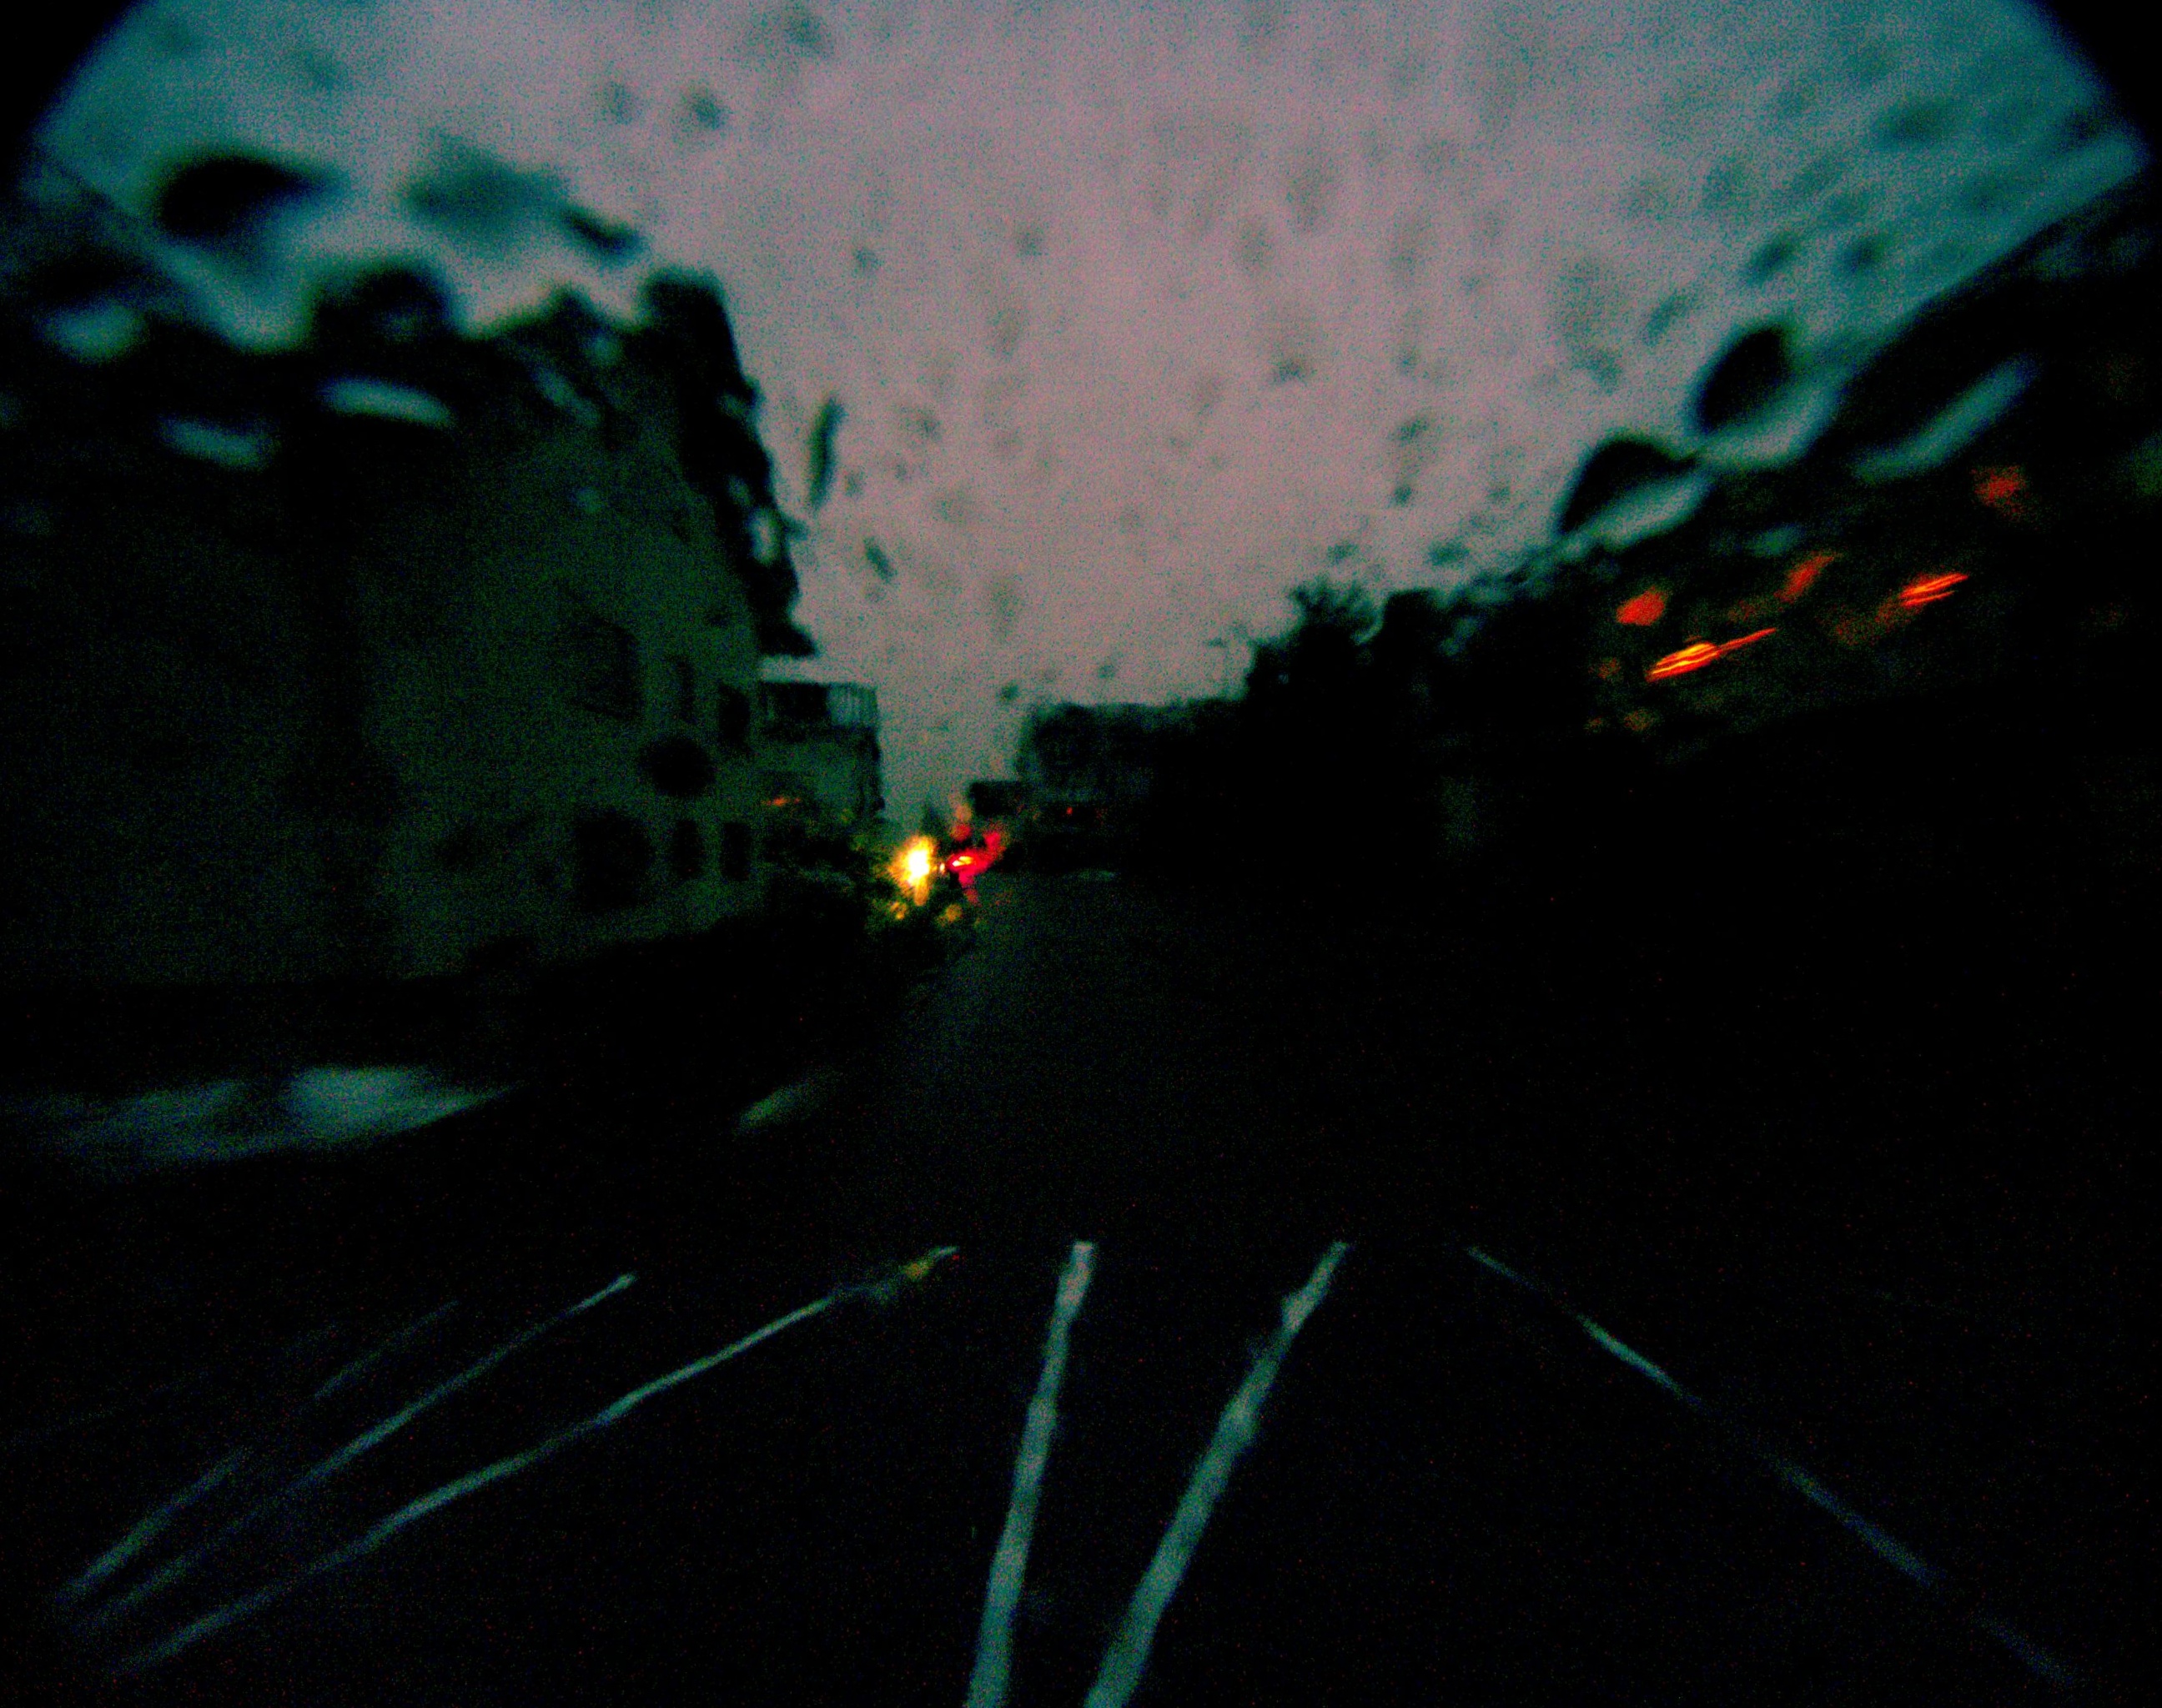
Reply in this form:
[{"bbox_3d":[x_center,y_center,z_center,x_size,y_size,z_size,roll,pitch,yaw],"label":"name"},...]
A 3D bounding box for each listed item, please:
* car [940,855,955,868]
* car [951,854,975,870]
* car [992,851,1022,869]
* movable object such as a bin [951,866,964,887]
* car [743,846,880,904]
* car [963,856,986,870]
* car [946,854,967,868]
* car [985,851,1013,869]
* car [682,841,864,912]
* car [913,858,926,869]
[{"bbox_3d":[-18.826,1.049,107.102,1.777,1.781,4.124,0,-1,-13],"label":"car"},{"bbox_3d":[-11.666,0.804,74.984,1.780,1.486,4.373,0,0,-17],"label":"car"},{"bbox_3d":[-5.974,0.489,61.037,1.674,1.401,3.909,-2,0,-16],"label":"car"},{"bbox_3d":[-5.891,1.087,36.221,0.616,0.941,0.594,2,2,-10],"label":"movable object such as a bin"},{"bbox_3d":[-8.792,0.689,25.128,4.004,1.448,1.688,6,-1,-15],"label":"car"},{"bbox_3d":[-11.449,0.994,81.472,1.741,1.435,4.433,-1,0,-17],"label":"car"},{"bbox_3d":[-15.293,0.834,93.383,1.926,1.614,4.416,0,0,-17],"label":"car"},{"bbox_3d":[-7.041,0.532,65.141,1.671,1.409,3.685,-3,1,-17],"label":"car"},{"bbox_3d":[-8.396,0.598,21.083,4.295,1.448,1.777,7,0,-10],"label":"car"},{"bbox_3d":[-23.181,1.314,109.024,1.758,1.486,4.245,0,0,-13],"label":"car"}]
